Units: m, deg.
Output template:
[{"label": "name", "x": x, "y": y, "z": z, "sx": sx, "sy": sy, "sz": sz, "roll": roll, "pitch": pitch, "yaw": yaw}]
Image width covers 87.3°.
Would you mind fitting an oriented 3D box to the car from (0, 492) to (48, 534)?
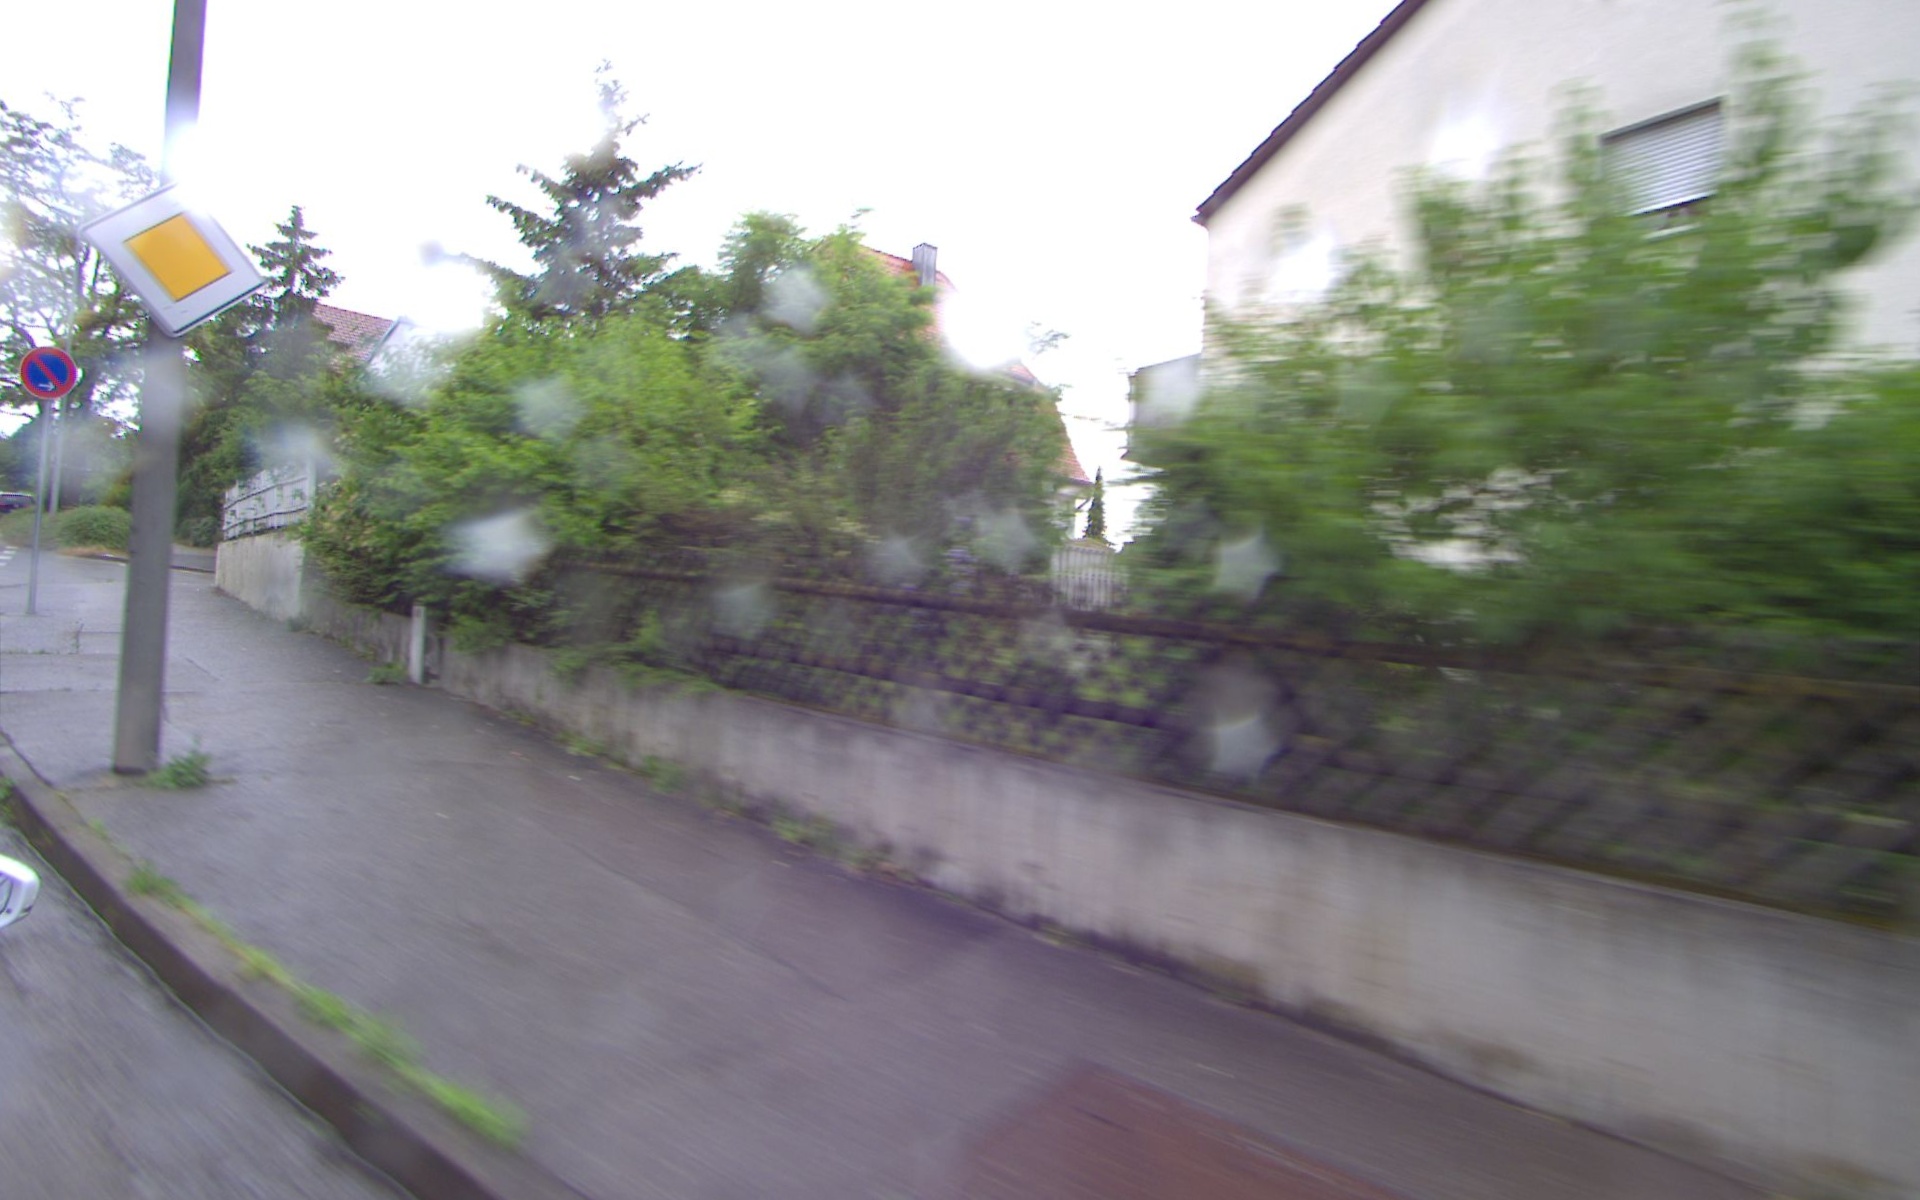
[{"label": "car", "x": -48.554, "y": -4.494, "z": 51.930, "sx": 1.988, "sy": 1.657, "sz": 3.956, "roll": 10, "pitch": -6, "yaw": -42}]
